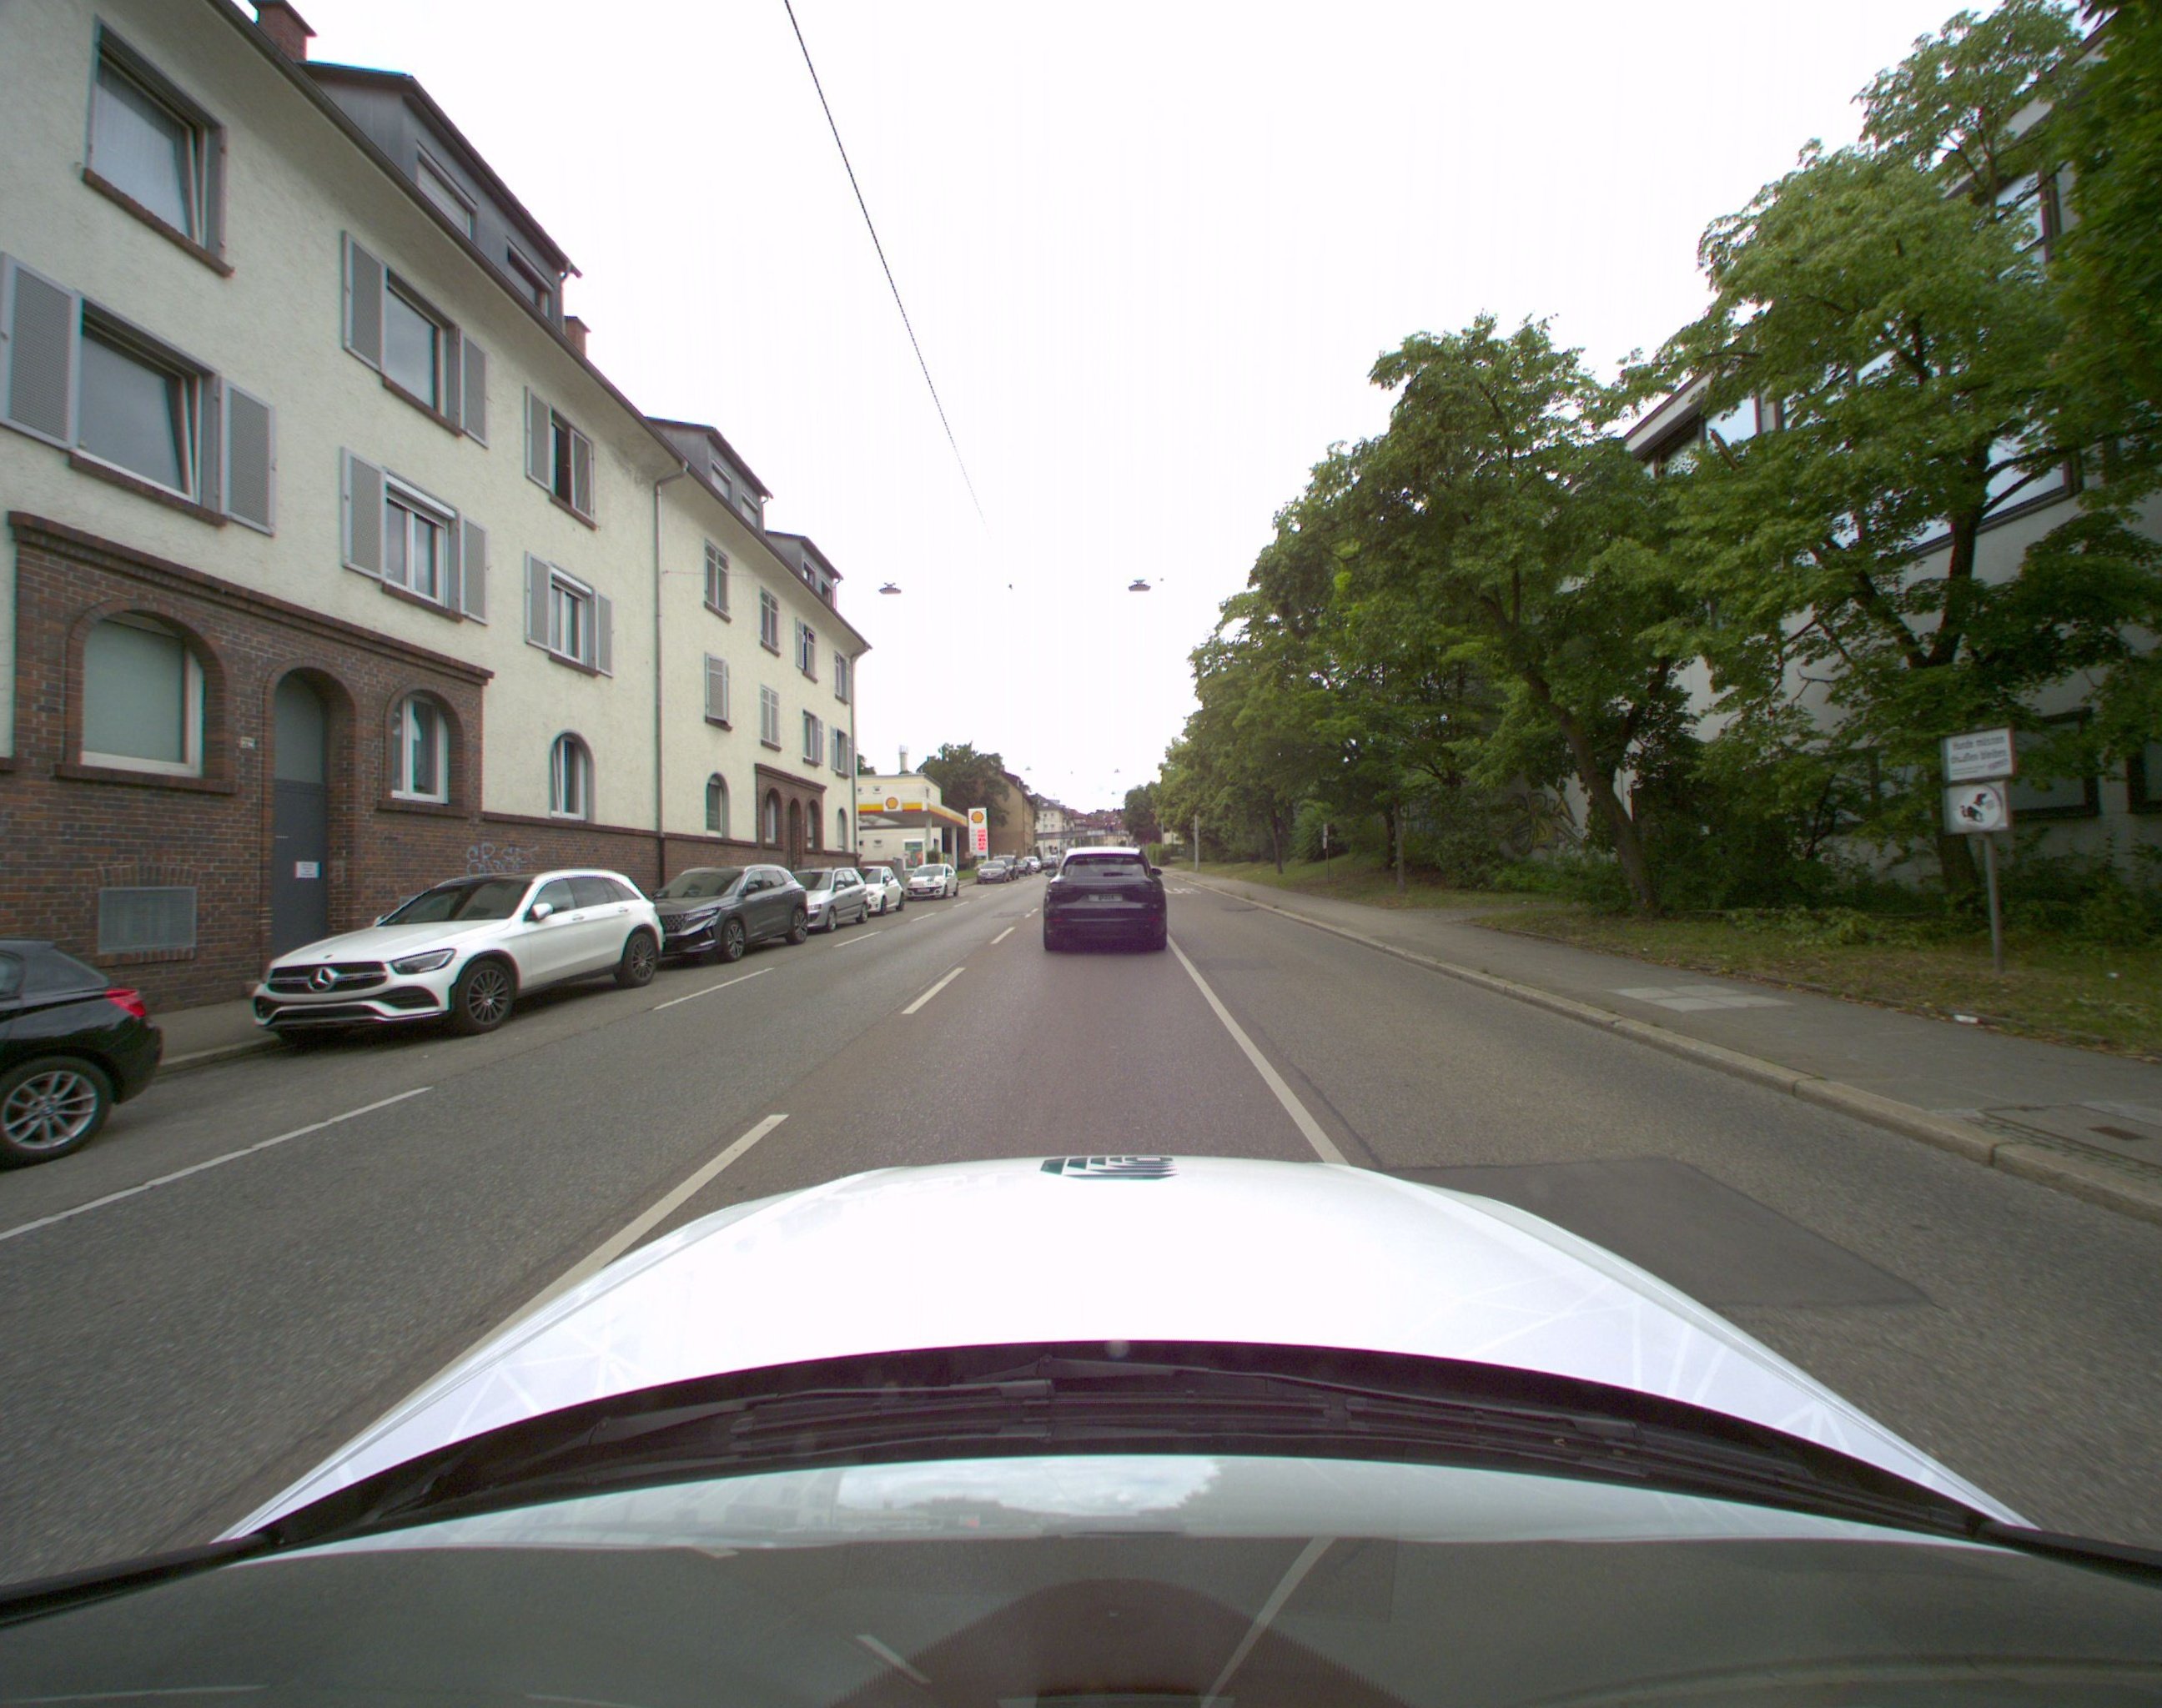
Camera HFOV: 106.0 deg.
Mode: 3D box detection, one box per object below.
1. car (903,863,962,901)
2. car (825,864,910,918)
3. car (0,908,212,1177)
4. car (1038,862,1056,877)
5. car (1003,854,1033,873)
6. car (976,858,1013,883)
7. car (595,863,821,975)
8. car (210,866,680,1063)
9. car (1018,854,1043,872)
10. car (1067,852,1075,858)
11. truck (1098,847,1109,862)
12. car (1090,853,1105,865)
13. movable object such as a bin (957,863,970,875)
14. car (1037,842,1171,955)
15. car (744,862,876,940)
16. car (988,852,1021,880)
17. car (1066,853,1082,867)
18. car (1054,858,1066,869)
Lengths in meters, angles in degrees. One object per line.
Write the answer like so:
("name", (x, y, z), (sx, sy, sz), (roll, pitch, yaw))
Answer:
("car", (-6.227, 1.141, 34.473), (1.613, 1.425, 3.667), (-3, 0, 2))
("car", (-6.567, 1.097, 25.382), (1.542, 1.475, 3.605), (-3, 0, 1))
("car", (-6.949, 1.131, 3.543), (1.721, 1.429, 4.193), (-3, 0, 1))
("car", (-4.155, 1.889, 100.554), (1.776, 1.609, 4.267), (-4, 0, 3))
("car", (-5.374, 0.783, 69.733), (1.790, 1.431, 4.748), (-3, 0, 4))
("car", (-5.542, 1.040, 52.560), (1.784, 1.450, 4.219), (-3, 0, 2))
("car", (-6.495, 1.028, 14.834), (1.719, 1.599, 4.506), (-3, 0, 4))
("car", (-6.910, 1.035, 9.708), (1.839, 1.621, 4.644), (-3, 0, 1))
("car", (-4.851, 0.862, 78.998), (1.908, 1.577, 4.702), (-3, 0, 2))
("car", (-2.490, 0.290, 208.624), (1.758, 1.508, 4.002), (-2, -1, 2))
("truck", (5.283, 0.149, 190.158), (2.258, 3.424, 9.881), (-2, 0, 1))
("car", (1.996, 0.600, 98.005), (1.734, 1.400, 4.002), (-1, 0, 2))
("movable object such as a bin", (-14.251, 1.829, 98.511), (1.388, 1.428, 0.913), (-1, 0, -1))
("car", (0.416, 0.657, 14.229), (1.986, 1.662, 4.002), (-1, 0, 2))
("car", (-6.524, 1.060, 20.088), (1.721, 1.558, 4.082), (-4, 0, 1))
("car", (-5.439, 0.844, 58.469), (1.845, 1.835, 4.701), (-3, 0, 0))
("car", (-0.815, 0.715, 98.141), (1.791, 1.525, 4.001), (-3, 0, 2))
("car", (-3.370, 1.497, 130.921), (1.740, 1.568, 3.907), (-3, 0, 0))
